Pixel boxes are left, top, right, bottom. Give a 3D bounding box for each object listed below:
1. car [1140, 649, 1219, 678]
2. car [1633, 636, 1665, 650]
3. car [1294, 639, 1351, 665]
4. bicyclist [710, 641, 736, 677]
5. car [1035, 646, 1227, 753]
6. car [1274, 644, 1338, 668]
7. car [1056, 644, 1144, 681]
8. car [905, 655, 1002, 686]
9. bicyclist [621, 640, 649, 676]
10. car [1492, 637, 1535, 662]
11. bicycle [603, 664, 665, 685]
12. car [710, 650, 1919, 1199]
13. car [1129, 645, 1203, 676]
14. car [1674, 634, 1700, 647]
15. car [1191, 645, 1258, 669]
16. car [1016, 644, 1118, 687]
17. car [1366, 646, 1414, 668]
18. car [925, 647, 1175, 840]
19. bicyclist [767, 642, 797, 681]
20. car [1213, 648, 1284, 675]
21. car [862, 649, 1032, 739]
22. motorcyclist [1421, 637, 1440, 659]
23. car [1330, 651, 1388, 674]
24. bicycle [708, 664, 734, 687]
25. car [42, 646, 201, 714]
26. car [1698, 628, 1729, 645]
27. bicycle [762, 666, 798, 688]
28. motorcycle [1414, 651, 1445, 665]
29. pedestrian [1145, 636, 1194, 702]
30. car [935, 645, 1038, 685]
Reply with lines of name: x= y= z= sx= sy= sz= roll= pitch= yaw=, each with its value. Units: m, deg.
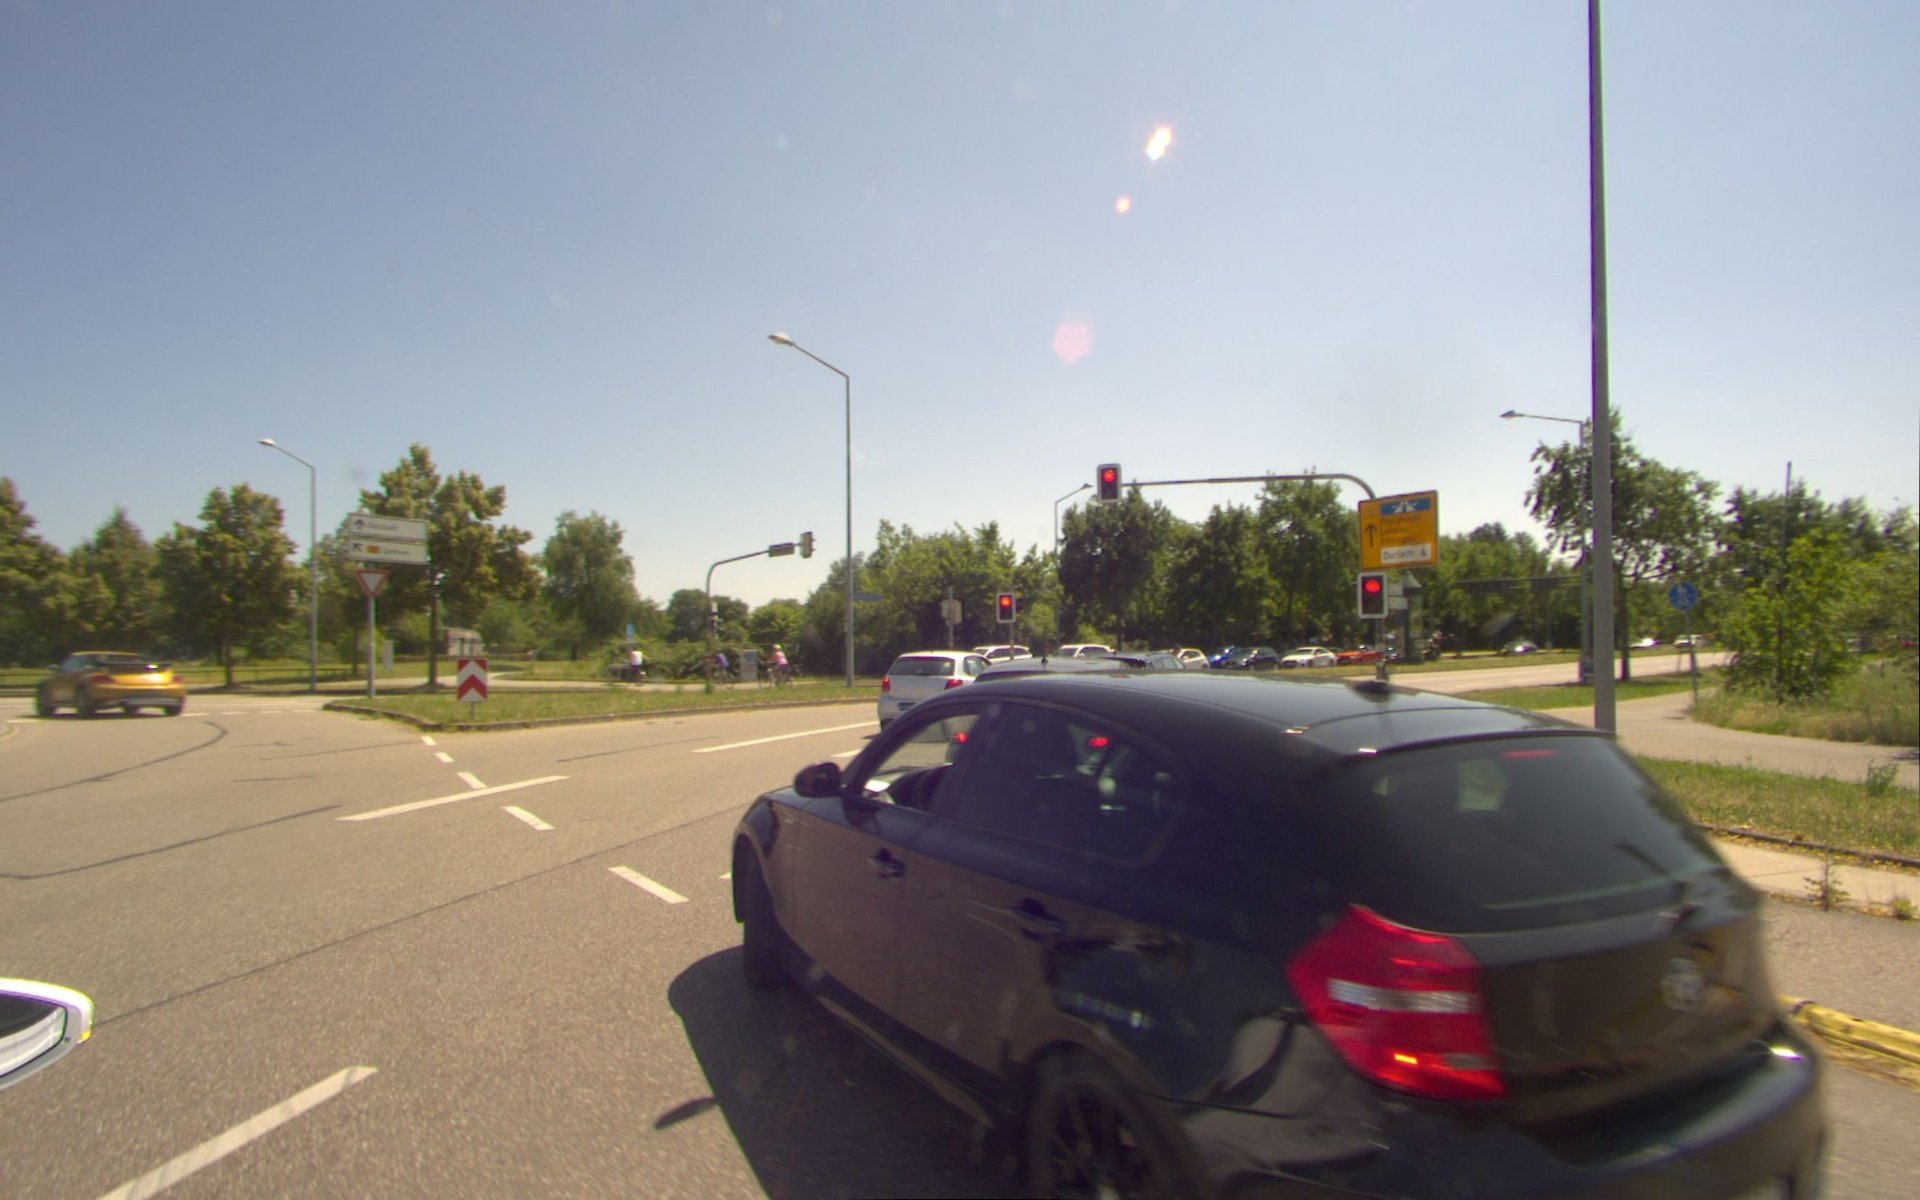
car: x=11.598 y=3.319 z=52.676 sx=4.362 sy=1.440 sz=1.849 roll=2 pitch=-3 yaw=-41
car: x=73.894 y=4.595 z=107.407 sx=3.959 sy=1.506 sz=1.959 roll=2 pitch=-3 yaw=-42
car: x=25.053 y=3.561 z=69.107 sx=4.362 sy=1.704 sz=1.849 roll=2 pitch=-3 yaw=-41
bicyclist: x=-10.434 y=2.576 z=44.146 sx=0.944 sy=1.551 sz=1.182 roll=1 pitch=-1 yaw=-22
car: x=2.900 y=1.469 z=16.076 sx=1.967 sy=1.436 sz=4.443 roll=-1 pitch=-3 yaw=25
car: x=21.259 y=3.421 z=61.480 sx=4.362 sy=1.440 sz=1.849 roll=2 pitch=-3 yaw=-41
car: x=6.832 y=3.003 z=48.527 sx=4.362 sy=1.704 sz=1.849 roll=2 pitch=-3 yaw=-41
car: x=-0.274 y=3.208 z=46.017 sx=4.362 sy=1.286 sz=1.849 roll=2 pitch=-3 yaw=-41
bicyclist: x=-15.105 y=2.690 z=46.548 sx=0.961 sy=1.633 sz=0.755 roll=-2 pitch=-4 yaw=22
car: x=46.829 y=4.216 z=84.747 sx=3.961 sy=2.038 sz=1.983 roll=3 pitch=-5 yaw=-43
bicycle: x=-15.157 y=3.446 z=46.525 sx=2.879 sy=0.923 sz=0.740 roll=-2 pitch=-4 yaw=20
car: x=0.441 y=0.920 z=3.526 sx=1.775 sy=1.458 sz=3.986 roll=2 pitch=-3 yaw=-26
car: x=11.676 y=3.387 z=56.702 sx=4.362 sy=1.704 sz=1.849 roll=2 pitch=-3 yaw=-41
car: x=88.438 y=4.969 z=121.758 sx=3.960 sy=1.574 sz=1.852 roll=2 pitch=-3 yaw=-43
car: x=16.128 y=3.441 z=60.997 sx=4.362 sy=1.440 sz=1.849 roll=2 pitch=-3 yaw=-41
car: x=4.574 y=2.734 z=42.414 sx=4.362 sy=1.704 sz=1.849 roll=2 pitch=-3 yaw=-41
car: x=29.950 y=3.960 z=69.732 sx=3.760 sy=1.492 sz=1.706 roll=3 pitch=-5 yaw=-43
car: x=1.093 y=1.187 z=9.781 sx=1.721 sy=1.421 sz=4.078 roll=0 pitch=-2 yaw=16
bicyclist: x=-7.566 y=2.605 z=42.443 sx=0.945 sy=1.629 sz=1.181 roll=1 pitch=-3 yaw=-27
car: x=16.464 y=3.476 z=57.006 sx=4.362 sy=1.440 sz=1.849 roll=2 pitch=-3 yaw=-41
car: x=-0.114 y=1.630 z=18.433 sx=1.752 sy=1.440 sz=3.992 roll=-1 pitch=-3 yaw=22
motorcyclist: x=34.417 y=3.514 z=73.259 sx=0.999 sy=1.605 sz=0.902 roll=2 pitch=-4 yaw=-39
car: x=26.366 y=4.108 z=66.110 sx=4.362 sy=1.440 sz=1.849 roll=2 pitch=-3 yaw=-41
bicycle: x=-10.549 y=3.311 z=44.183 sx=0.884 sy=0.912 sz=1.758 roll=2 pitch=-2 yaw=-21
car: x=-19.007 y=1.786 z=22.676 sx=3.612 sy=1.420 sz=1.822 roll=-3 pitch=-4 yaw=34
car: x=80.874 y=3.901 z=107.419 sx=4.099 sy=1.712 sz=1.792 roll=3 pitch=-5 yaw=-41
bicycle: x=-7.666 y=3.251 z=42.554 sx=0.885 sy=0.911 sz=2.218 roll=2 pitch=-4 yaw=-27
motorcycle: x=34.318 y=4.228 z=73.127 sx=2.784 sy=0.963 sz=0.892 roll=2 pitch=-5 yaw=-39
pedestrian: x=5.371 y=1.780 z=25.687 sx=0.749 sy=1.657 sz=0.949 roll=2 pitch=-4 yaw=-41
car: x=1.172 y=2.748 z=42.871 sx=4.362 sy=1.638 sz=1.849 roll=2 pitch=-3 yaw=-41
